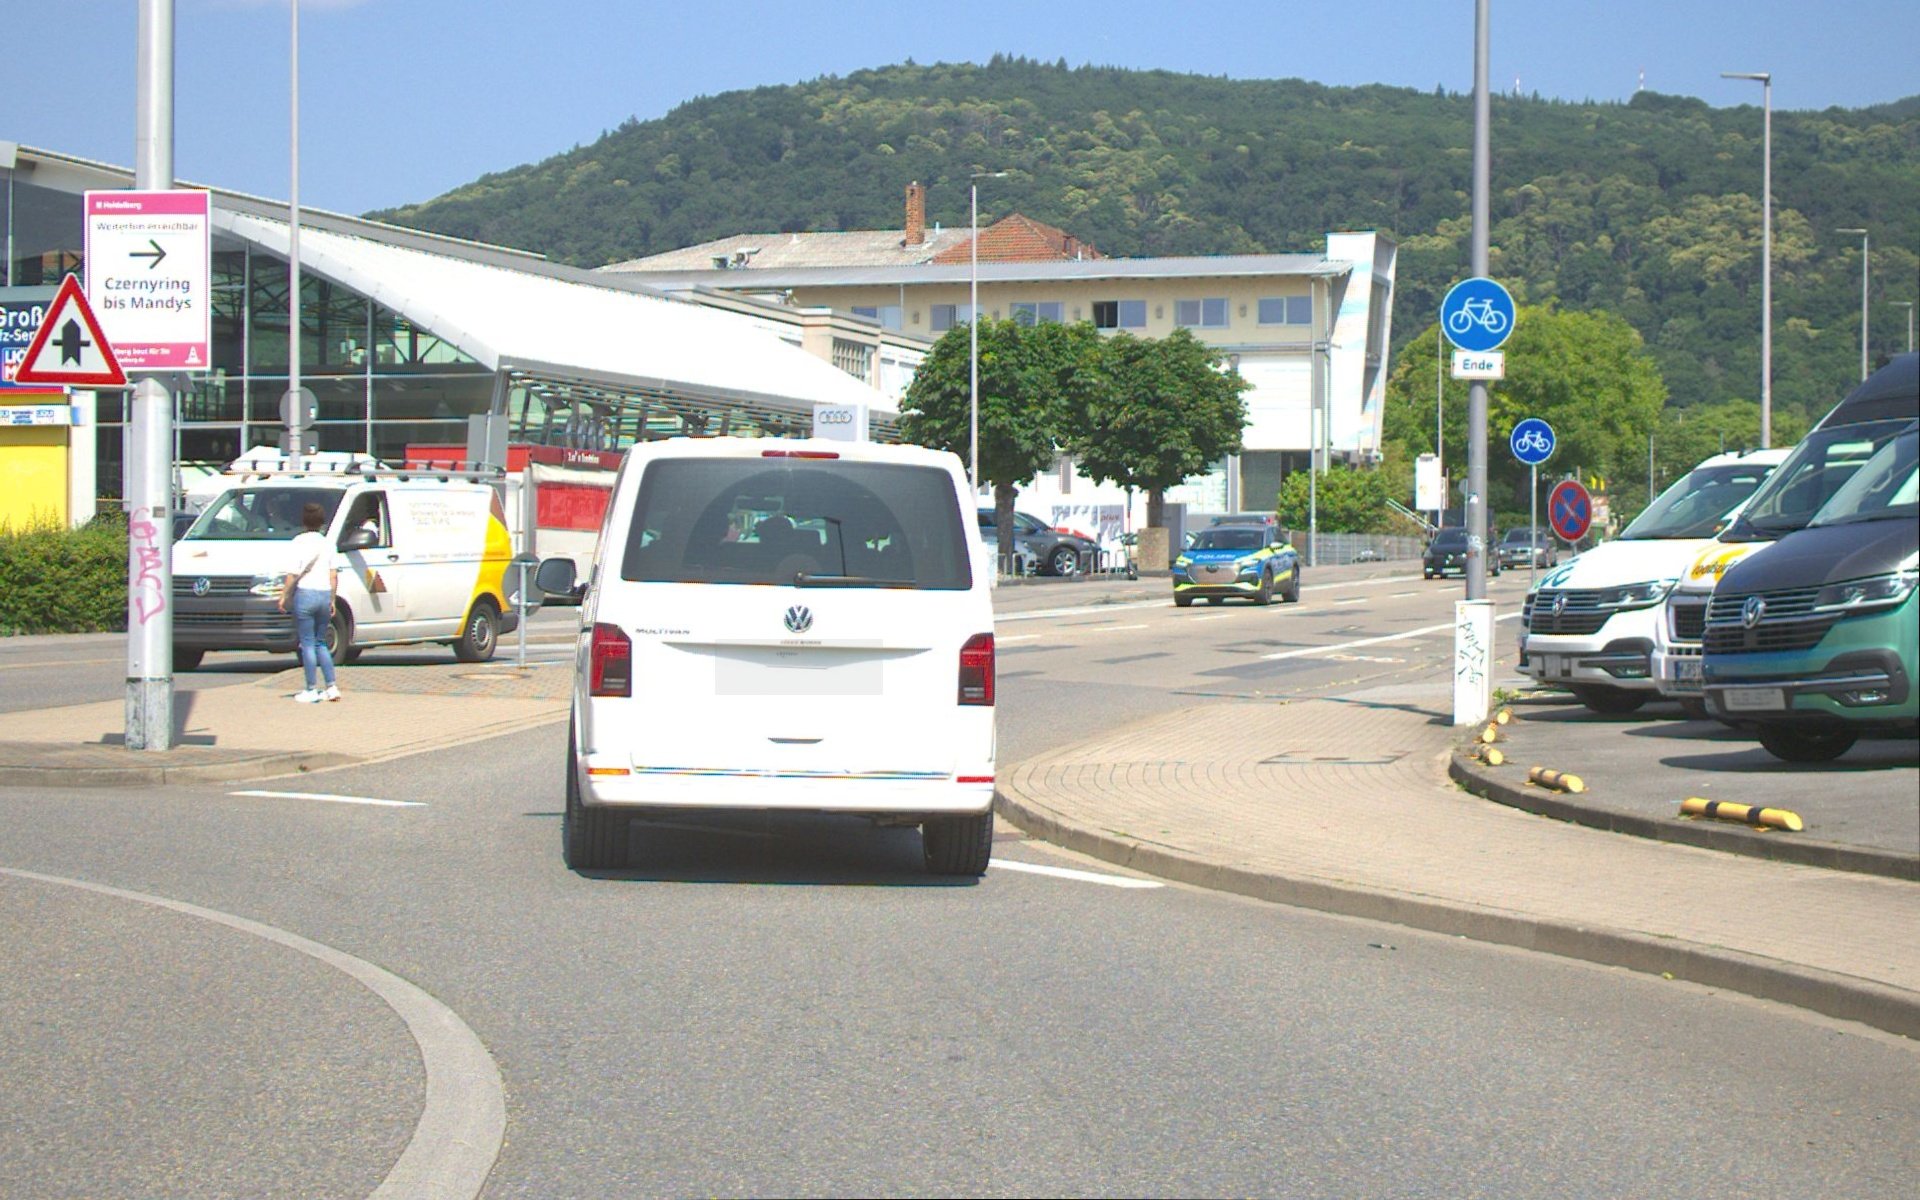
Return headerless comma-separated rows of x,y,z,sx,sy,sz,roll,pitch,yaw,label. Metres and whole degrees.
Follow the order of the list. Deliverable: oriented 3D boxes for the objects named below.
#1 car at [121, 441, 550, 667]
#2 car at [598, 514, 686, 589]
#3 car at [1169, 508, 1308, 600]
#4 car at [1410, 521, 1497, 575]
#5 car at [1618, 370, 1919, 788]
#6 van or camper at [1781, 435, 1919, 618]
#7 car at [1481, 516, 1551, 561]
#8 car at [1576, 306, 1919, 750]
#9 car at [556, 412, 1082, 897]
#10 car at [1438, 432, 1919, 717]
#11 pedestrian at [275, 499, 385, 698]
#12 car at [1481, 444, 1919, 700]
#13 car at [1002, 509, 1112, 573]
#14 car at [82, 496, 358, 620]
-6.251,-0.510,35.065,2.023,2.107,4.929,2,2,21,car
-6.920,-1.067,75.056,1.745,1.579,3.662,0,1,-3,car
5.571,-0.943,68.373,1.910,1.754,4.448,0,2,16,car
13.934,-1.484,96.877,1.843,1.459,3.997,0,2,17,car
6.500,-0.149,19.177,5.209,2.106,2.098,0,1,-20,car
15.152,-1.029,48.837,6.510,2.552,2.971,1,1,19,van or camper
18.781,-2.094,116.024,1.842,1.459,3.997,0,2,16,car
7.428,-0.493,23.008,6.135,2.707,2.308,-1,1,-18,car
-0.882,0.170,17.050,2.162,2.007,5.019,1,1,-7,car
6.358,-0.211,25.652,5.141,1.993,2.025,-1,1,-16,car
-5.301,-0.019,28.898,0.759,1.651,0.673,0,1,-24,pedestrian
7.124,-0.270,28.684,5.132,2.007,1.931,-1,1,-12,car
2.430,-1.505,87.131,1.745,1.579,3.662,0,1,-16,car
-10.053,-0.608,47.014,1.995,1.612,3.997,1,2,17,car
